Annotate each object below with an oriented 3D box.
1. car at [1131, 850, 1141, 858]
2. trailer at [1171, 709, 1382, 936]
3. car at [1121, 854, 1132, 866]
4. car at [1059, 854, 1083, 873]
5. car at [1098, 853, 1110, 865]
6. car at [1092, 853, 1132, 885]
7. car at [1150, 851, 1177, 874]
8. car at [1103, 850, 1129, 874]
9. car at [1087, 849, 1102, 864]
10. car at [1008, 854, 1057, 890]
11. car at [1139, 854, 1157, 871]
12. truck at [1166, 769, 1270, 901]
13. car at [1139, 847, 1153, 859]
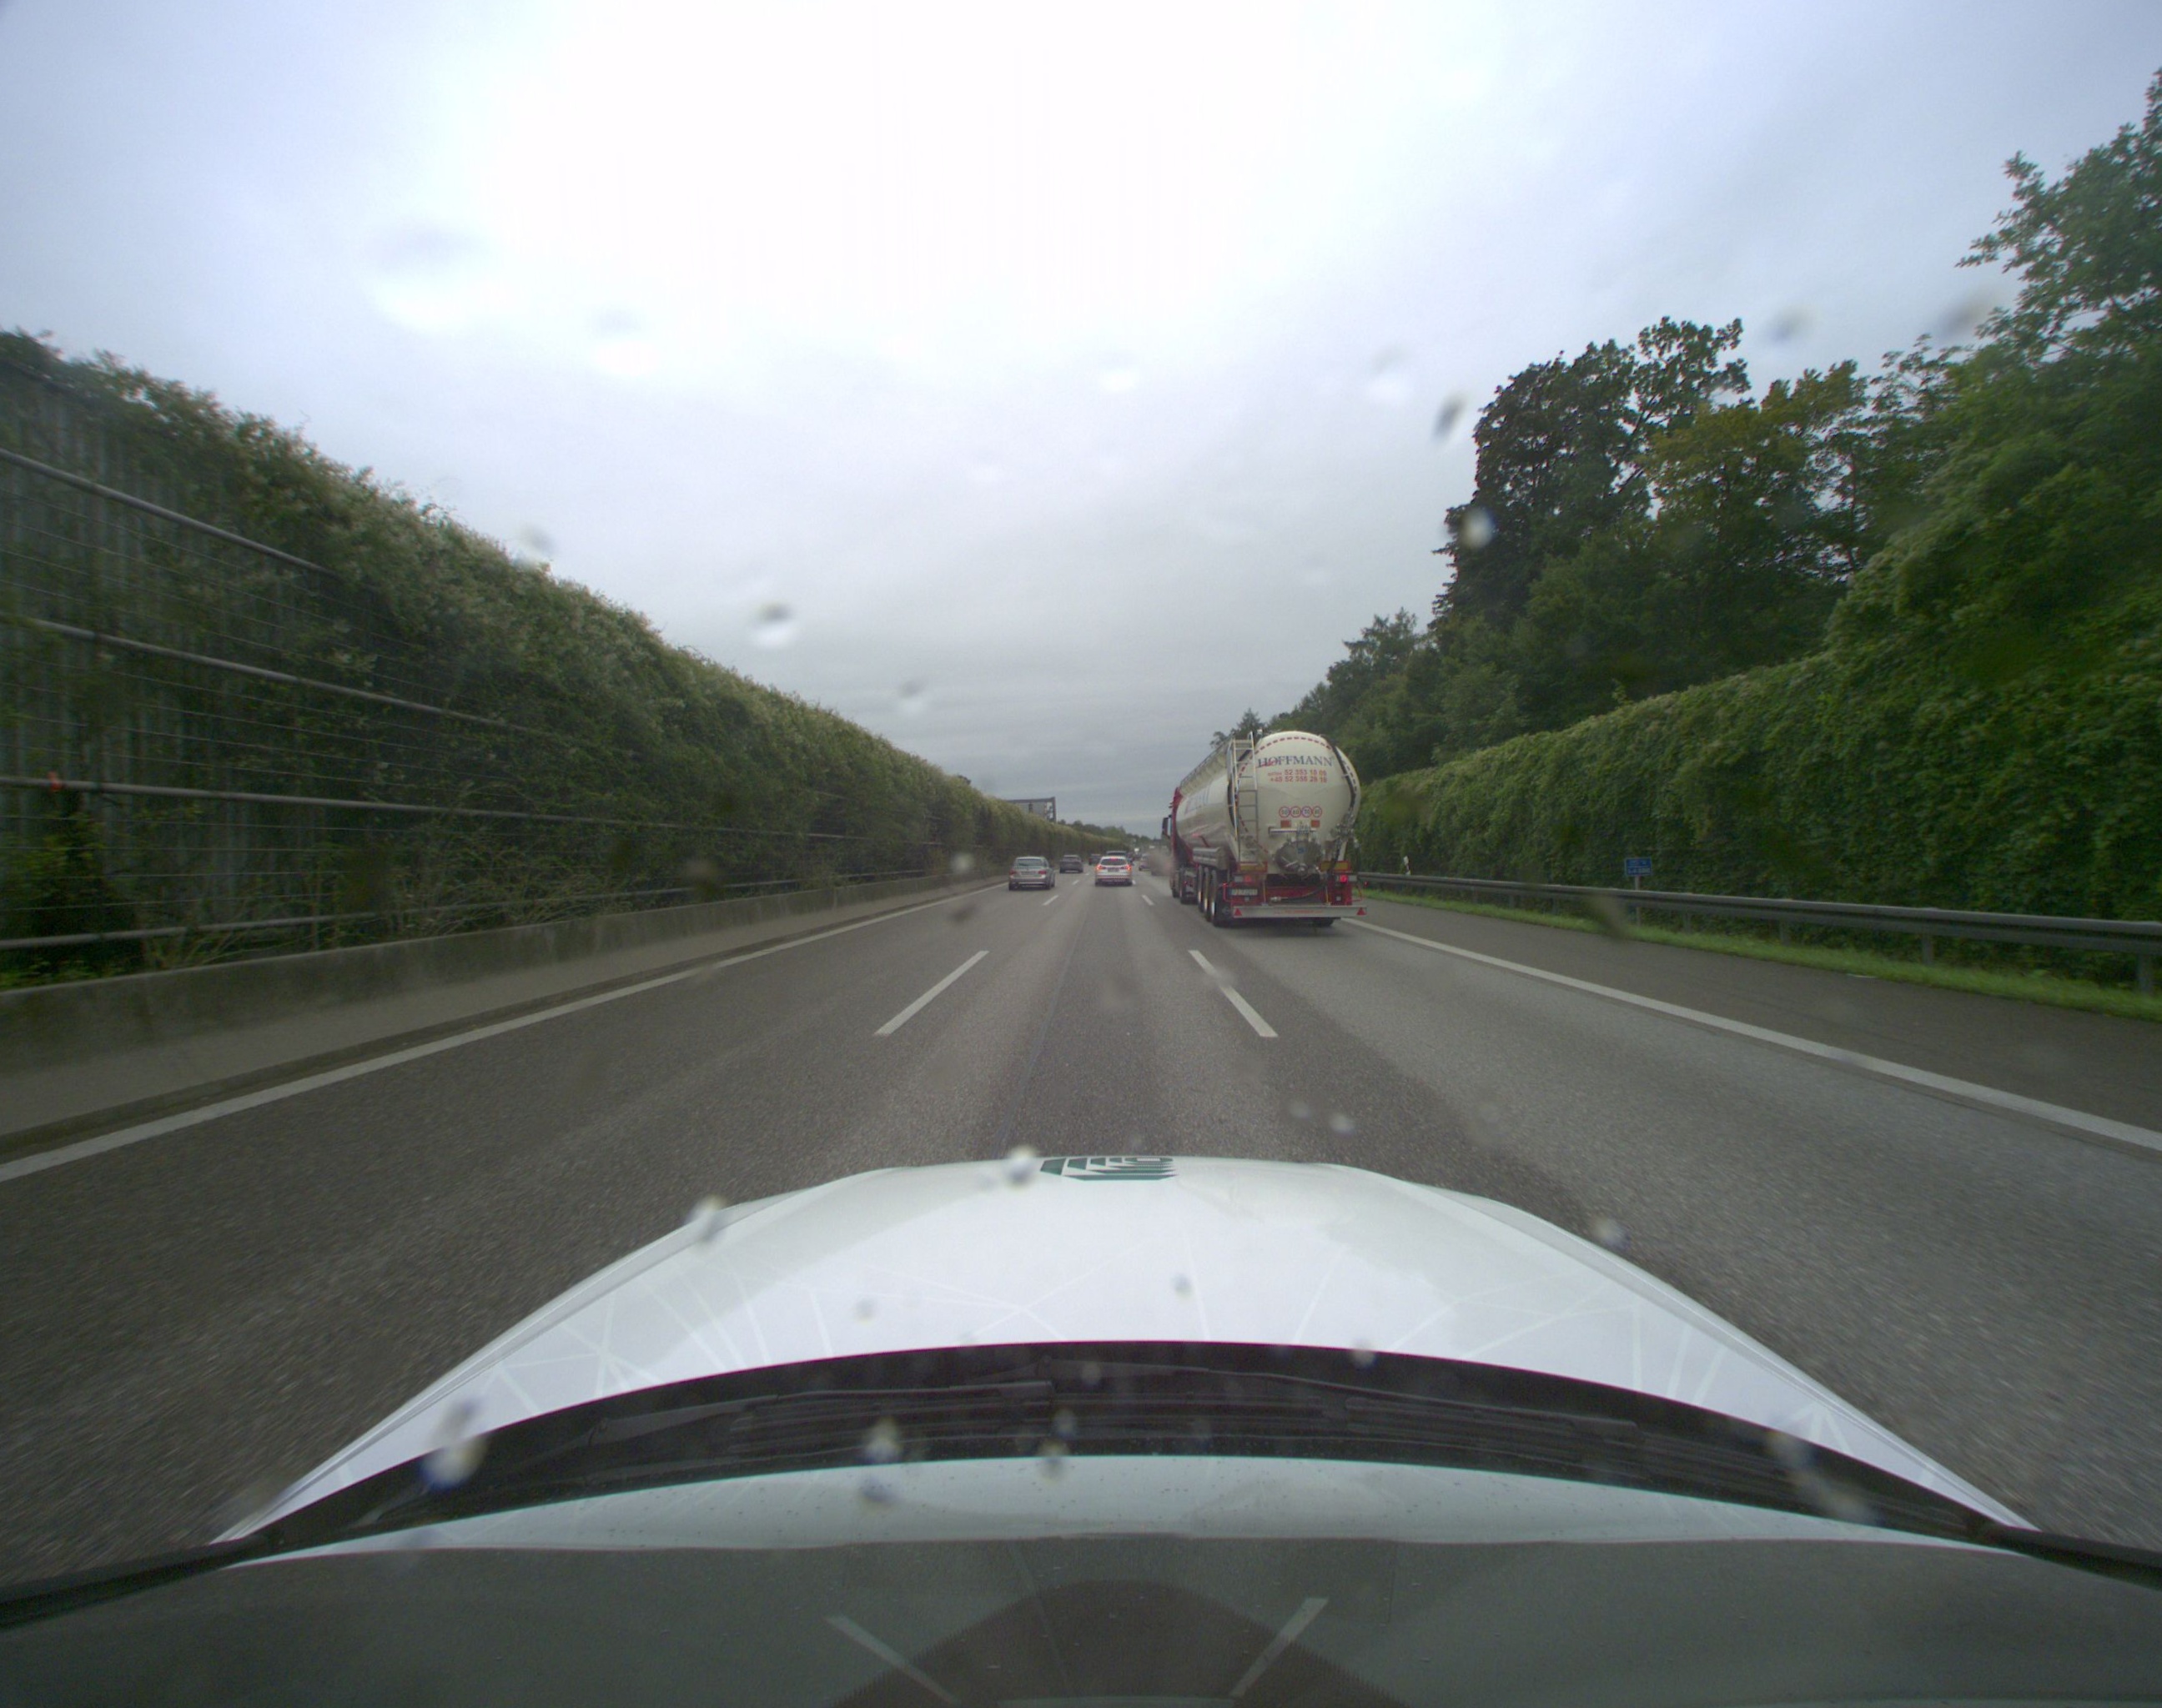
[{"bbox_3d":[10.673,0.067,158.188,1.680,1.539,3.878,-1,0,6],"label":"car"},{"bbox_3d":[4.132,-0.511,20.807,2.658,3.939,13.136,-1,0,2],"label":"trailer"},{"bbox_3d":[7.203,0.950,128.873,1.782,1.779,3.874,-1,0,3],"label":"car"},{"bbox_3d":[-0.773,0.747,67.411,1.713,1.512,5.032,-1,0,2],"label":"car"},{"bbox_3d":[3.991,0.831,140.985,1.986,2.013,4.002,-1,0,2],"label":"car"},{"bbox_3d":[1.562,0.708,41.293,1.884,1.504,5.033,-1,0,2],"label":"car"},{"bbox_3d":[6.016,0.590,59.962,1.808,1.625,5.035,-1,0,4],"label":"car"},{"bbox_3d":[2.514,0.576,59.417,1.683,1.506,3.872,3,1,1],"label":"car"},{"bbox_3d":[1.844,0.332,109.508,1.986,2.013,3.843,-1,0,2],"label":"car"},{"bbox_3d":[-2.139,0.755,37.291,1.713,1.469,5.033,-1,1,2],"label":"car"},{"bbox_3d":[6.261,0.805,76.085,1.681,1.506,3.876,-1,0,5],"label":"car"},{"bbox_3d":[4.420,-0.532,27.593,2.684,3.912,6.560,-1,0,3],"label":"truck"},{"bbox_3d":[8.322,-0.151,103.899,1.682,1.506,3.874,-1,0,3],"label":"car"}]
